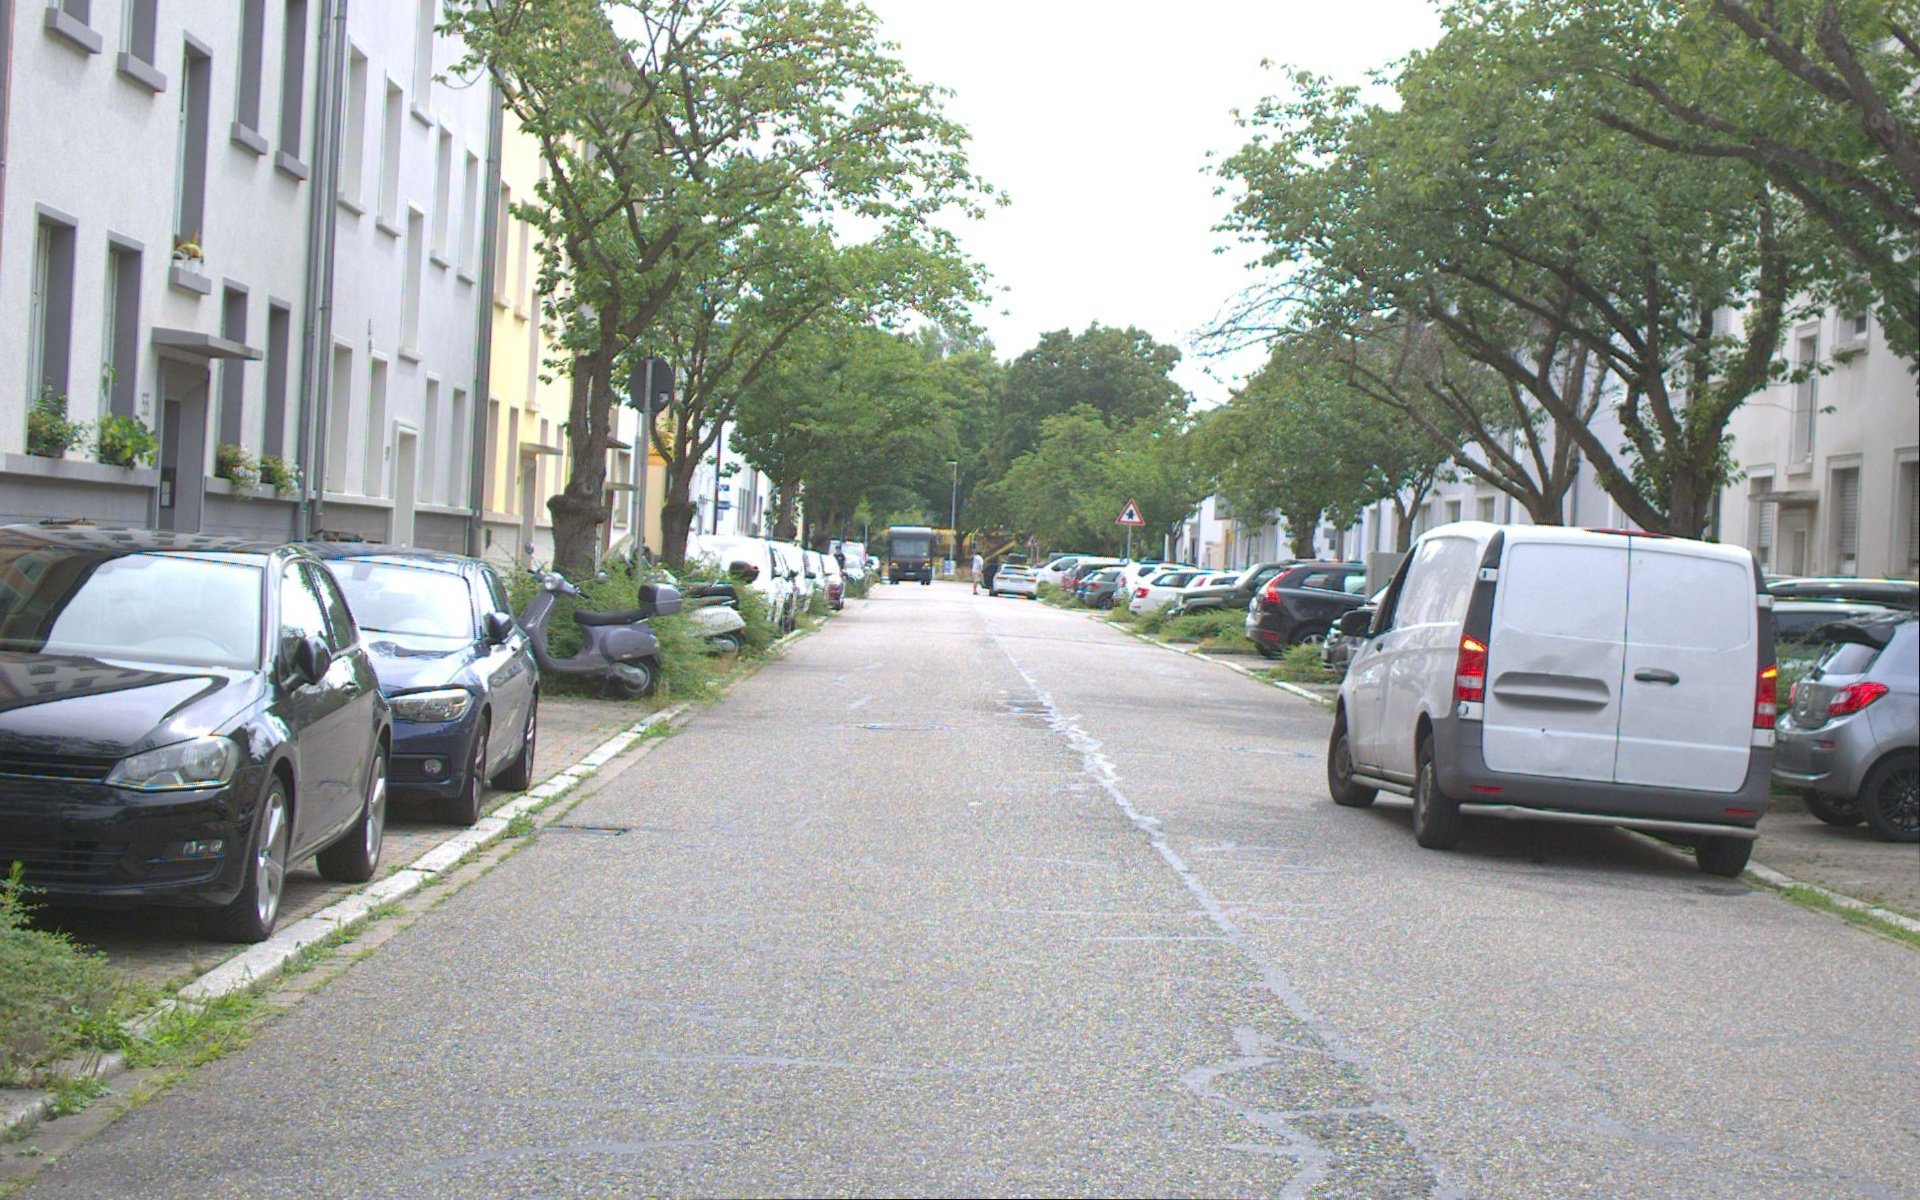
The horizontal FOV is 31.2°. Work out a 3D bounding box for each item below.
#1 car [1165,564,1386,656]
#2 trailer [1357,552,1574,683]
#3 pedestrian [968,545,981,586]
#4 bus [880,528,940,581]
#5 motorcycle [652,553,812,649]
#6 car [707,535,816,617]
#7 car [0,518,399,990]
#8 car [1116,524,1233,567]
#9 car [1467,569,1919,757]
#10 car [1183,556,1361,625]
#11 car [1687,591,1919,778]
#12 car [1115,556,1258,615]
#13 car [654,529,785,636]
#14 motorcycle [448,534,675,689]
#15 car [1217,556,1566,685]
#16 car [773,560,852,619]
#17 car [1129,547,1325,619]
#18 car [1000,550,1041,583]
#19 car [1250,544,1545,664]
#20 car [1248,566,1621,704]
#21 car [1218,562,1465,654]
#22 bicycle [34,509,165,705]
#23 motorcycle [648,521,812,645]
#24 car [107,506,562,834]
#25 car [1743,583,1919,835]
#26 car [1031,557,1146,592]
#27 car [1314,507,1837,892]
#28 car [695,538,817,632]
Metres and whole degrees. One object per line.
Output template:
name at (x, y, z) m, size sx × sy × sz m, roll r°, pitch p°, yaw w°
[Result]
car at (6.614, 0.195, 72.424) m, size 4.525 × 1.852 × 1.793 m, roll 1°, pitch 0°, yaw 2°
trailer at (7.263, 0.246, 49.595) m, size 2.961 × 1.825 × 1.400 m, roll 1°, pitch 0°, yaw 3°
pedestrian at (0.607, -1.452, 144.548) m, size 0.522 × 1.698 × 0.444 m, roll 1°, pitch 0°, yaw 3°
bus at (-2.691, -2.403, 182.848) m, size 3.004 × 2.752 × 8.925 m, roll 1°, pitch 0°, yaw -2°
motorcycle at (-2.851, 0.014, 43.090) m, size 1.905 × 1.187 × 0.597 m, roll 1°, pitch 0°, yaw -27°
car at (-3.942, -0.486, 68.851) m, size 1.918 × 1.576 × 4.382 m, roll 1°, pitch 0°, yaw 0°
car at (-3.383, 0.454, 13.251) m, size 1.836 × 1.479 × 4.094 m, roll 4°, pitch 0°, yaw -2°
car at (7.042, -1.780, 113.257) m, size 3.747 × 1.361 × 1.773 m, roll 1°, pitch 0°, yaw 1°
car at (6.503, 0.526, 29.633) m, size 3.987 × 1.531 × 1.638 m, roll 1°, pitch 0°, yaw -1°
car at (6.812, -0.213, 75.234) m, size 3.624 × 1.449 × 1.773 m, roll 1°, pitch 0°, yaw -4°
car at (7.967, 0.669, 27.334) m, size 3.987 × 1.415 × 1.638 m, roll 1°, pitch 0°, yaw -1°
car at (6.424, -0.413, 97.734) m, size 3.923 × 1.627 × 1.868 m, roll 1°, pitch 0°, yaw 1°
car at (-3.745, -0.281, 54.213) m, size 1.757 × 1.551 × 4.256 m, roll 2°, pitch 0°, yaw -1°
motorcycle at (-3.706, 0.108, 31.901) m, size 2.011 × 1.402 × 0.793 m, roll 1°, pitch 0°, yaw -11°
car at (5.564, 0.251, 44.637) m, size 4.214 × 1.592 × 1.904 m, roll 1°, pitch 0°, yaw -2°
car at (-3.827, -0.284, 89.738) m, size 1.877 × 1.481 × 4.512 m, roll 1°, pitch 0°, yaw 0°
car at (6.474, -0.413, 83.591) m, size 4.614 × 1.658 × 1.892 m, roll 1°, pitch 0°, yaw 1°
car at (2.546, -1.409, 145.305) m, size 1.687 × 1.349 × 3.826 m, roll 1°, pitch 0°, yaw 1°
car at (6.544, 0.050, 51.759) m, size 4.215 × 1.730 × 1.904 m, roll 1°, pitch 0°, yaw 2°
car at (5.733, 0.406, 41.879) m, size 4.214 × 1.592 × 1.904 m, roll 1°, pitch 0°, yaw -2°
car at (6.574, 0.133, 59.521) m, size 3.986 × 1.525 × 1.768 m, roll 1°, pitch 0°, yaw -3°
bicycle at (-6.071, 0.043, 24.335) m, size 0.429 × 1.329 × 1.811 m, roll 1°, pitch 0°, yaw 1°
motorcycle at (-3.346, -0.256, 49.831) m, size 0.936 × 1.670 × 2.473 m, roll 2°, pitch 1°, yaw -44°
car at (-3.371, 0.333, 19.289) m, size 1.836 × 1.479 × 4.121 m, roll 5°, pitch 0°, yaw -2°
car at (7.108, 0.699, 22.559) m, size 3.478 × 1.568 × 1.815 m, roll 1°, pitch 0°, yaw -1°
car at (5.733, -1.136, 153.504) m, size 4.974 × 1.513 × 1.769 m, roll 1°, pitch 0°, yaw -2°
car at (3.530, 0.513, 20.696) m, size 1.993 × 1.908 × 4.704 m, roll 4°, pitch 0°, yaw -2°
car at (-3.545, -0.253, 60.384) m, size 1.790 × 1.487 × 4.812 m, roll 3°, pitch 0°, yaw 0°
